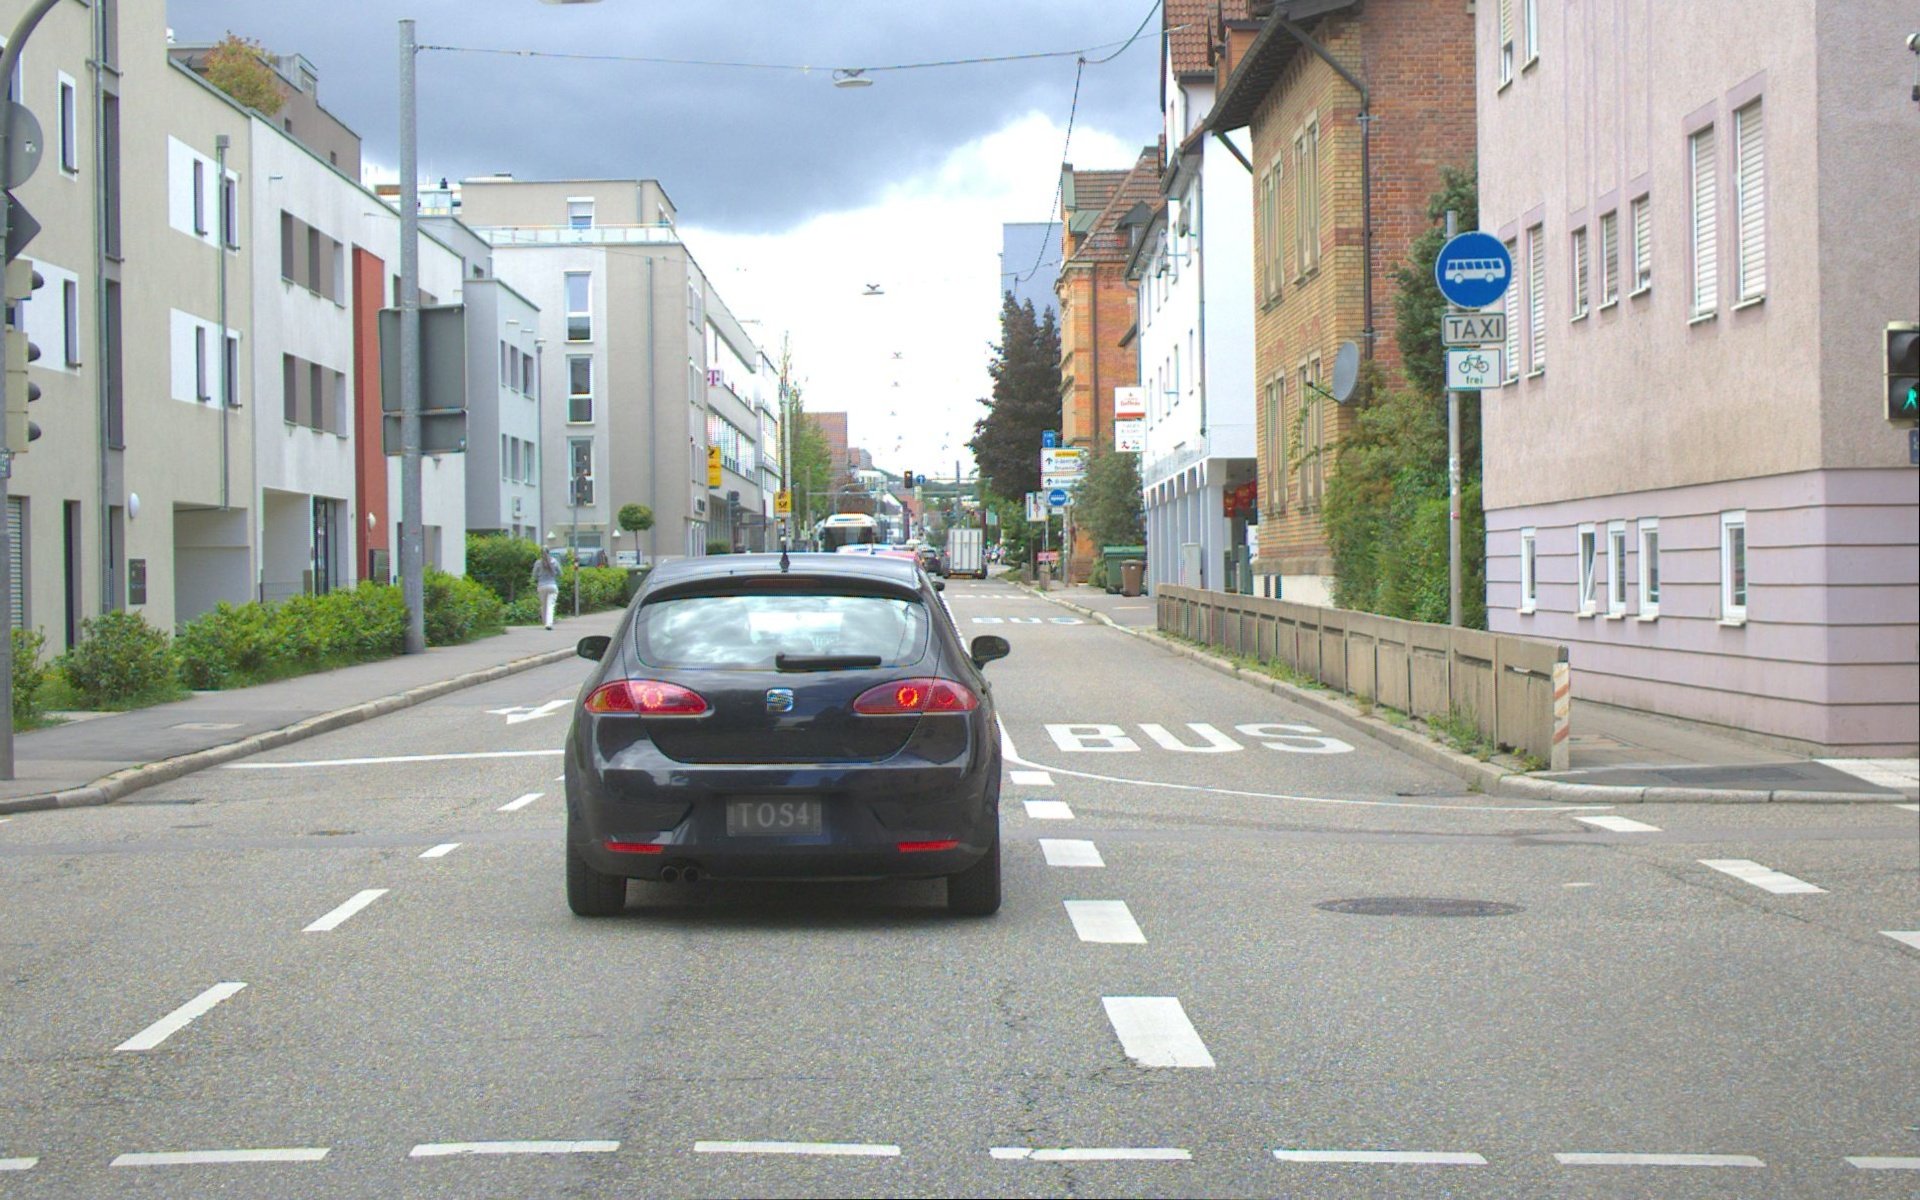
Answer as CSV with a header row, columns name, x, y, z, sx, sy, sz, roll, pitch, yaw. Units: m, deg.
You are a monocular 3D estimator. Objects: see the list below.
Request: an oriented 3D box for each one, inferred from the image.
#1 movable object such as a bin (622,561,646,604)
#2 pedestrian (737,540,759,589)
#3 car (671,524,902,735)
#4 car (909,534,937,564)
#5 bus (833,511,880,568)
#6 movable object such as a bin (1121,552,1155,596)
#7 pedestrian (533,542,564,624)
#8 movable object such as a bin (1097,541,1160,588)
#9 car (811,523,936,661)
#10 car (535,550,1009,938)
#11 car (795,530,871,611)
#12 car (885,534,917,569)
name,x,y,z,sx,sy,sz,roll,pitch,yaw
movable object such as a bin,-8.325,-0.446,87.817,0.549,1.075,0.612,0,0,0
pedestrian,-7.494,-1.266,121.645,0.730,1.723,0.859,0,0,-1
car,-1.434,0.220,29.673,1.842,1.687,4.000,0,0,-1
car,-2.086,-2.875,194.002,1.531,1.687,3.693,-1,1,-1
bus,-5.356,-3.089,178.823,2.210,2.876,8.920,0,0,0
movable object such as a bin,5.213,-0.750,100.801,0.928,1.279,0.883,0,0,0
pedestrian,-7.844,-0.327,65.562,0.526,1.542,0.541,0,0,-1
movable object such as a bin,5.154,-1.083,105.183,1.818,1.432,1.993,0,0,0
car,-1.094,-0.113,44.112,1.531,1.687,3.693,0,0,-1
car,-0.723,0.519,14.829,1.759,1.437,4.000,0,0,-1
car,-2.701,-0.636,73.643,1.531,1.687,3.693,0,0,-1
car,-2.863,-2.362,166.984,1.531,1.687,3.693,-1,1,-1
